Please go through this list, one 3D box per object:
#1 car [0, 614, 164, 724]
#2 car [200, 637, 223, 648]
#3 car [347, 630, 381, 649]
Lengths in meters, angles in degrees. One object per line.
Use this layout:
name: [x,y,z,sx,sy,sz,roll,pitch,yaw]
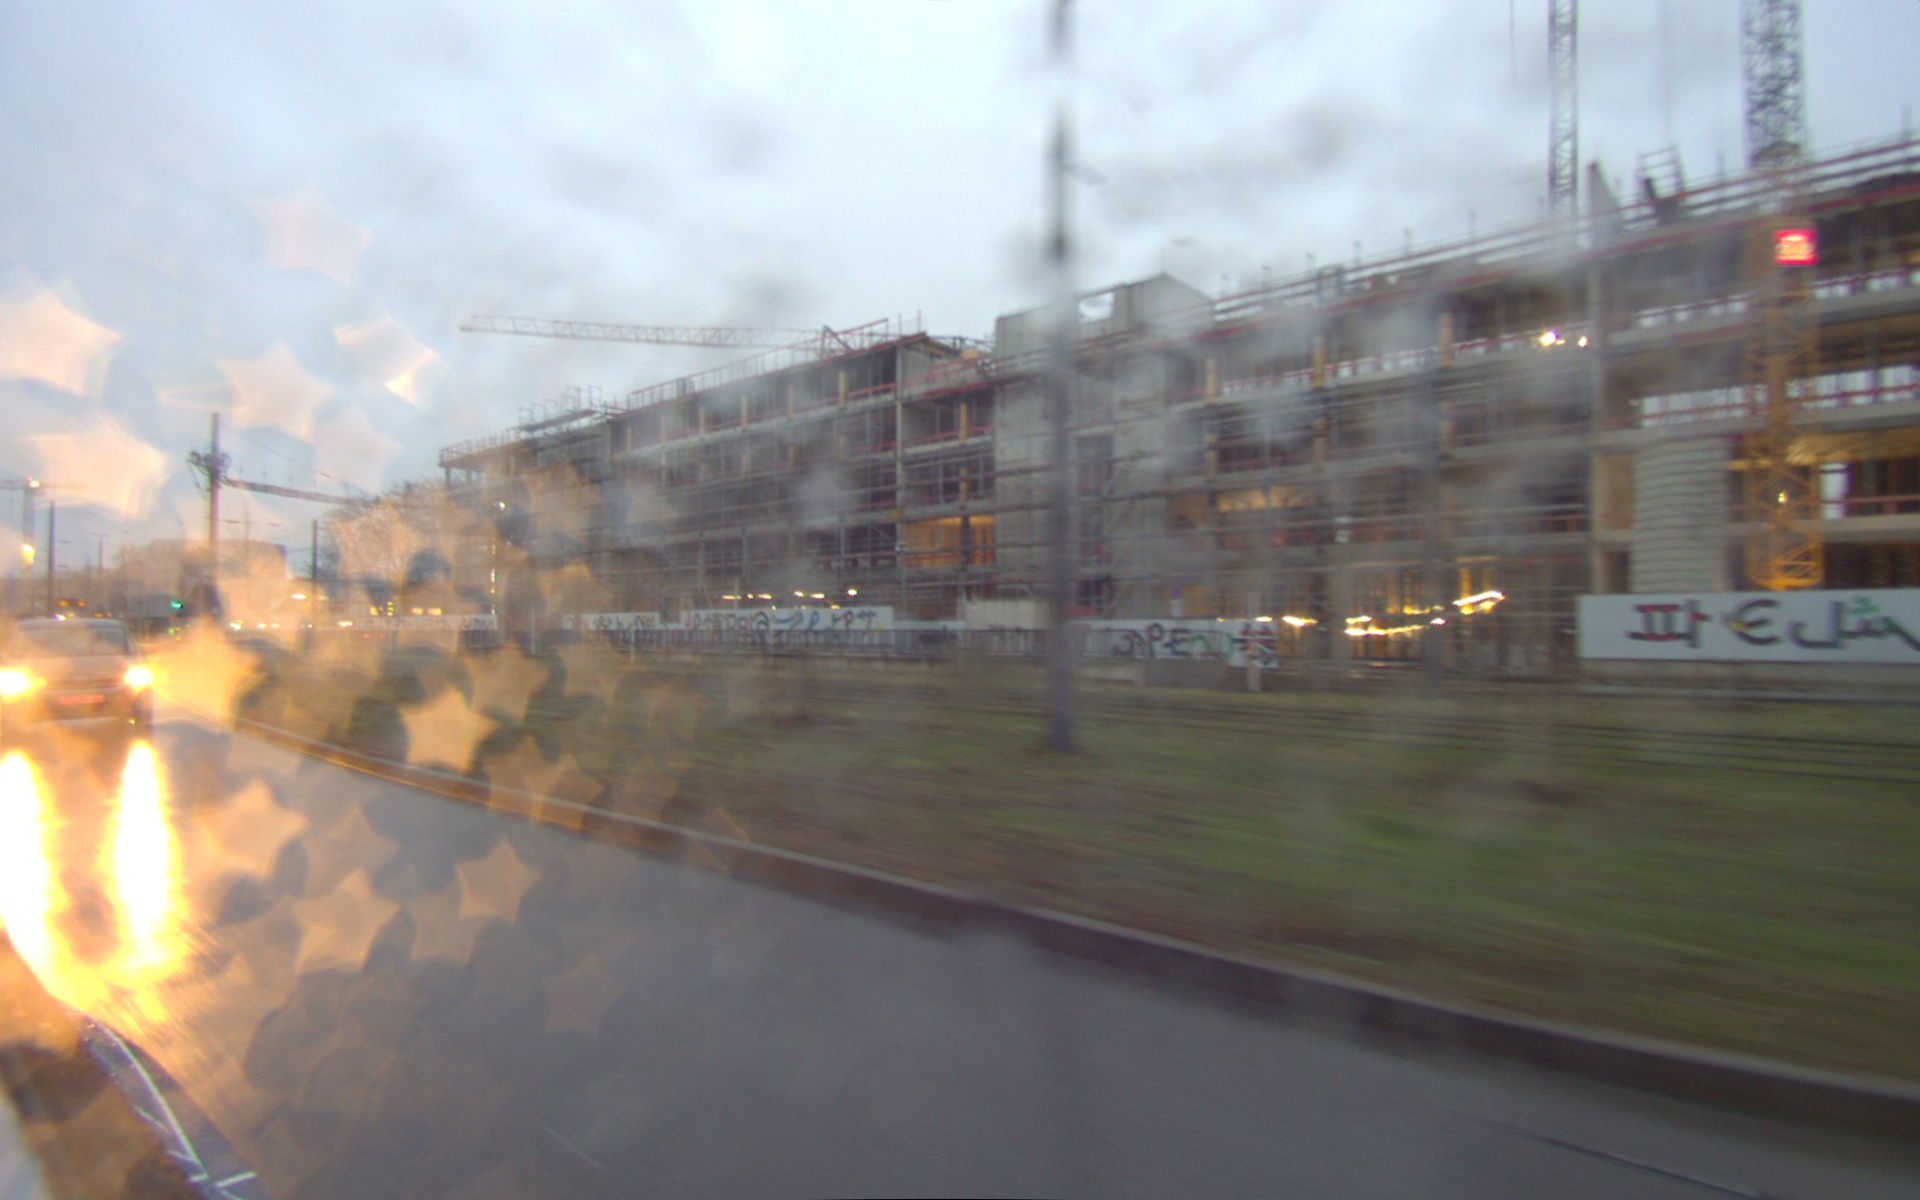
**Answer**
car: [-13.499,0.993,15.454,1.783,1.464,4.009,2,-3,-42]
car: [-96.855,5.480,130.990,4.340,1.425,1.664,-2,-2,43]
car: [-56.908,3.768,96.604,3.763,1.675,1.735,-4,-4,42]
